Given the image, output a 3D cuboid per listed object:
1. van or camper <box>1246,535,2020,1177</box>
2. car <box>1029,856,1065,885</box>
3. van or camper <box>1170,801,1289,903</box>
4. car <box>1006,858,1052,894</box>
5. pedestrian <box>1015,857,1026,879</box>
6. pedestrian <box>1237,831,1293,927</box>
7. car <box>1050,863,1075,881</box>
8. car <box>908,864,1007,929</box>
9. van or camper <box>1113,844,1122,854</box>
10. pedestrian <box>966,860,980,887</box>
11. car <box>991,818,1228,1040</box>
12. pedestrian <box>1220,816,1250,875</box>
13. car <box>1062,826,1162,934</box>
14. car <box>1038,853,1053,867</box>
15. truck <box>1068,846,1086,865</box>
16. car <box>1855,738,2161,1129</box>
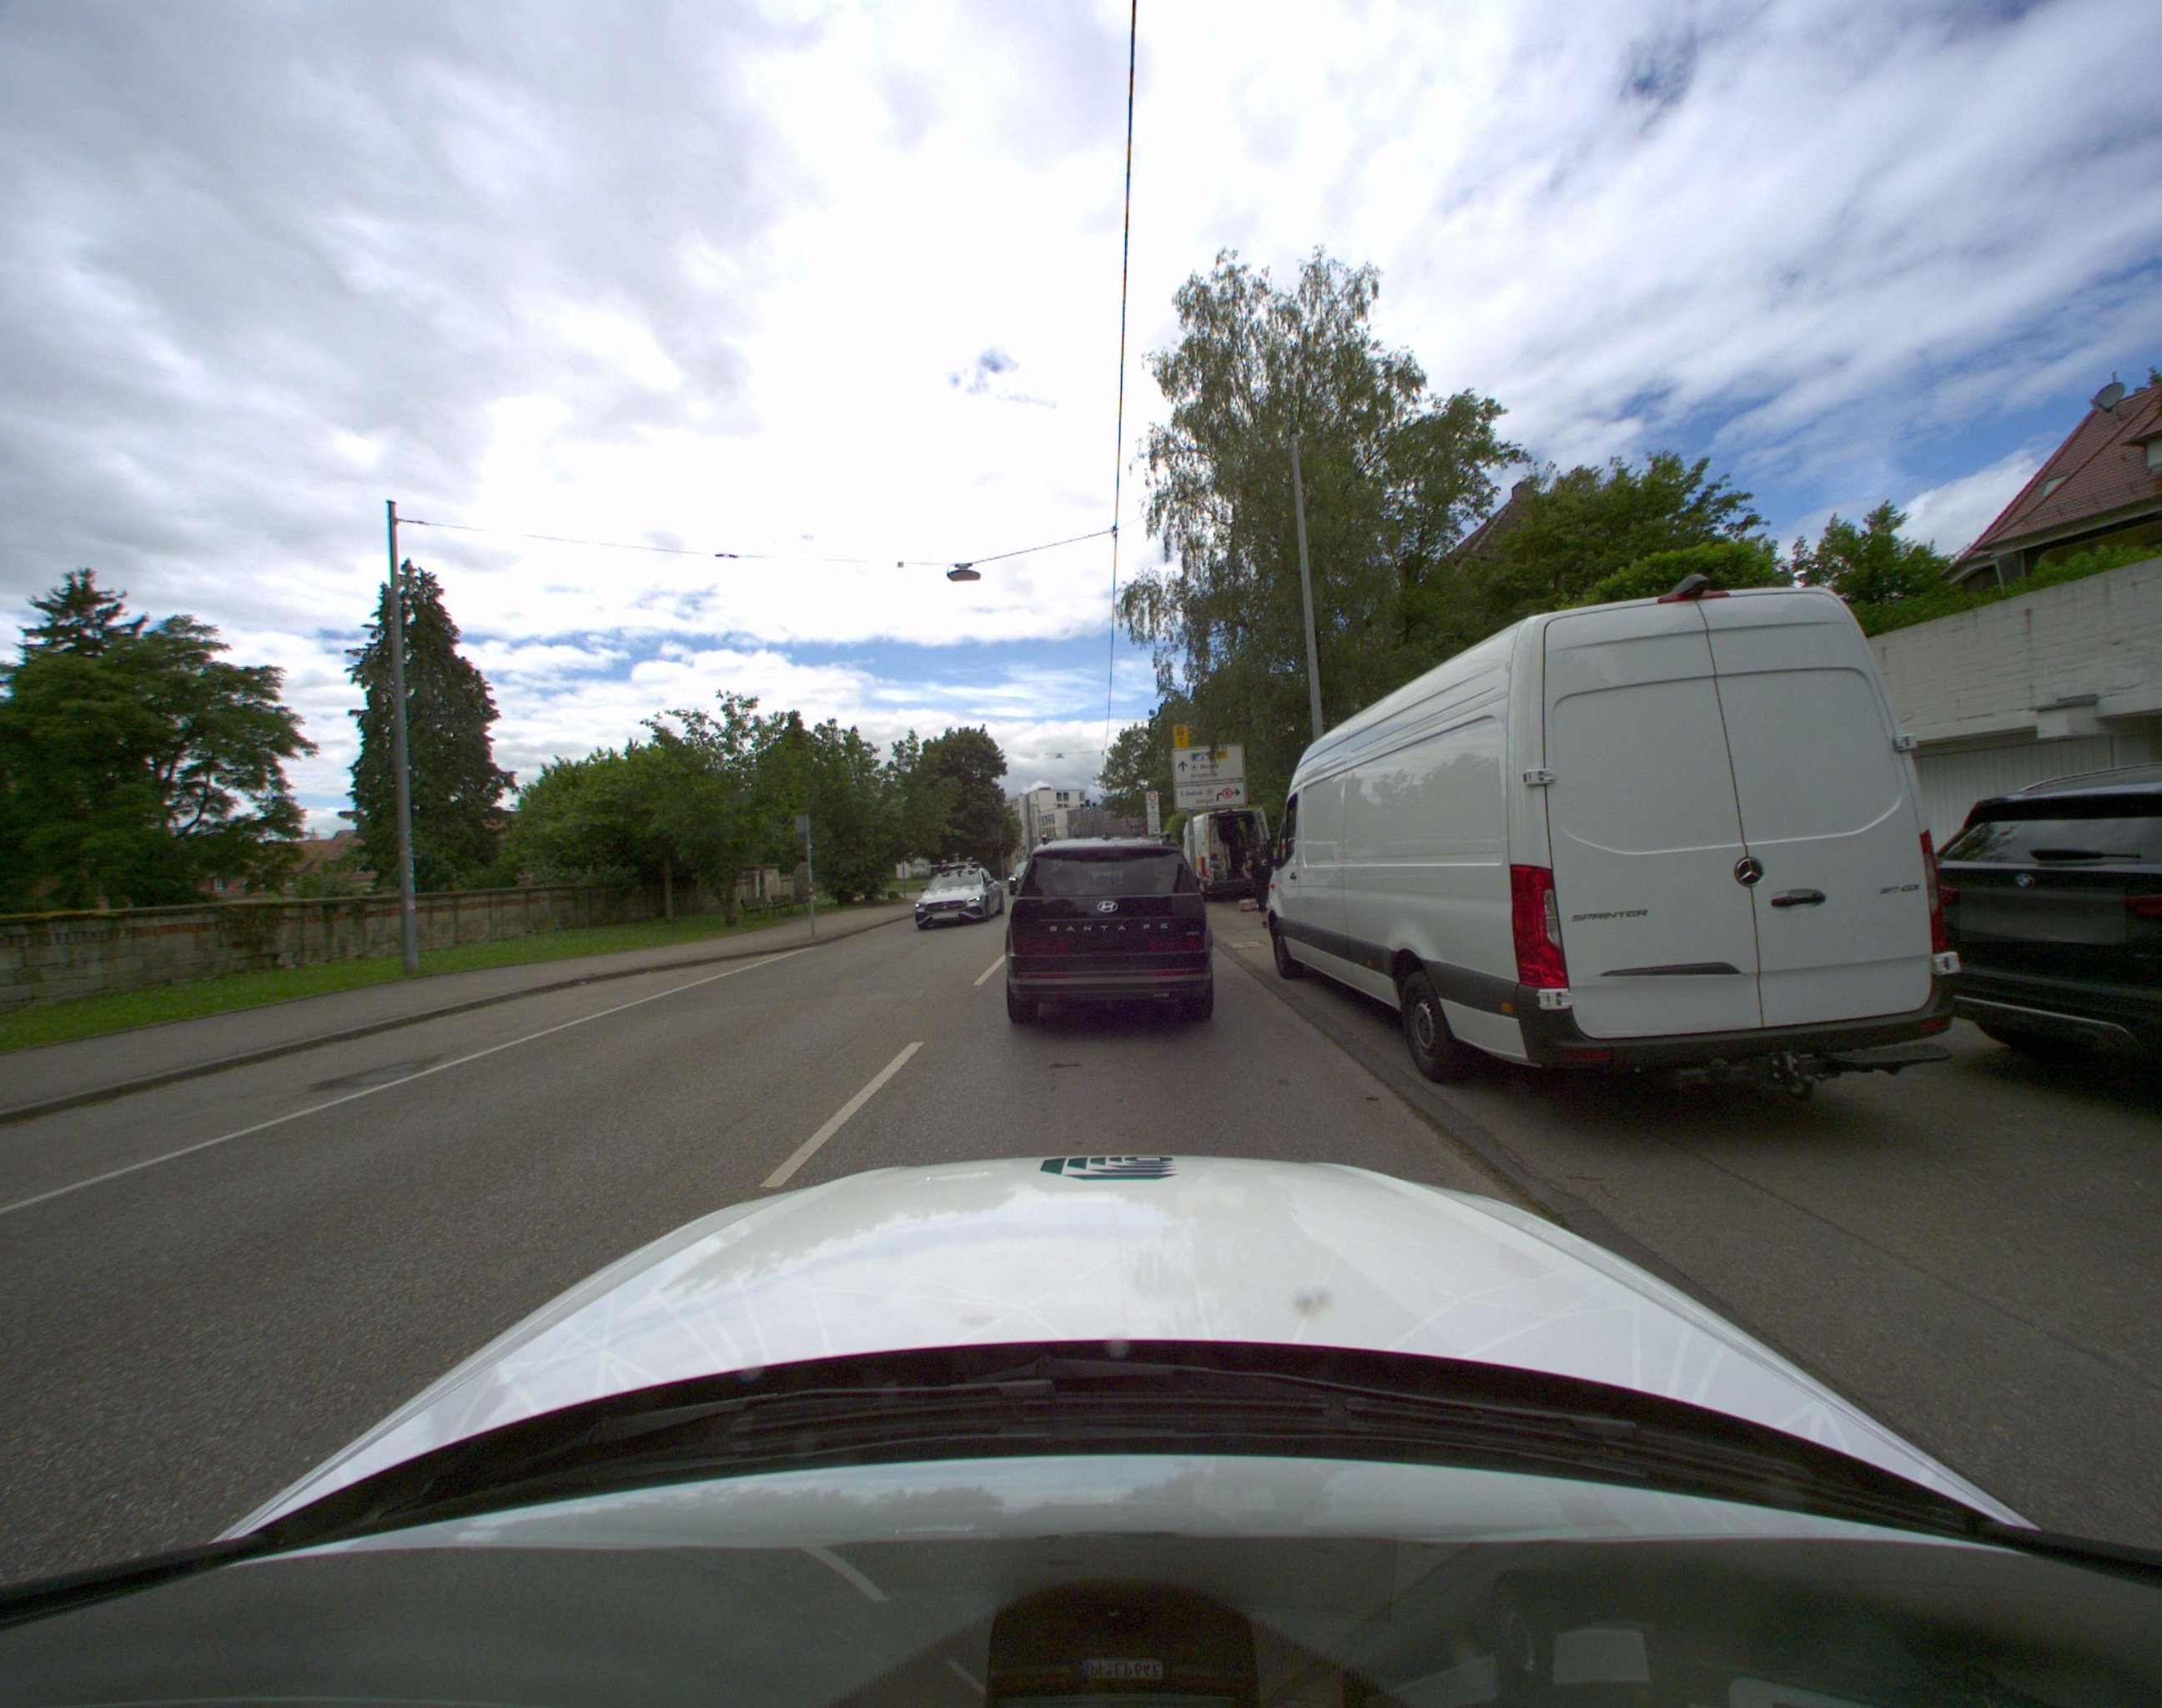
[{"bbox_3d":[3.073,0.034,6.849,1.984,2.625,6.546,-6,-1,2],"label":"van or camper"},{"bbox_3d":[-2.150,1.040,52.142,1.873,1.644,4.129,-6,-1,1],"label":"car"},{"bbox_3d":[4.346,0.021,25.182,2.332,2.494,6.603,-6,-1,1],"label":"van or camper"},{"bbox_3d":[-2.442,1.028,38.816,1.695,1.483,4.001,-5,-1,2],"label":"car"},{"bbox_3d":[-5.621,1.271,75.706,0.826,2.014,1.048,0,-1,4],"label":"pedestrian"},{"bbox_3d":[3.451,0.466,15.327,0.786,1.721,0.753,-4,-1,3],"label":"pedestrian"},{"bbox_3d":[-1.637,1.585,73.124,1.808,1.419,4.830,-6,-1,1],"label":"car"},{"bbox_3d":[-3.197,1.062,21.985,1.750,1.403,4.416,-6,-1,2],"label":"car"},{"bbox_3d":[7.737,-1.105,172.454,1.791,1.999,3.821,0,-1,-2],"label":"van or camper"},{"bbox_3d":[-7.221,1.283,54.436,0.764,1.748,0.904,-2,-1,0],"label":"pedestrian"},{"bbox_3d":[0.288,0.621,8.548,1.890,1.776,3.995,0,-1,2],"label":"car"},{"bbox_3d":[4.527,-0.246,23.975,0.732,1.643,0.803,-5,-1,11],"label":"pedestrian"},{"bbox_3d":[0.659,0.507,17.549,1.890,2.042,3.995,0,-1,2],"label":"car"},{"bbox_3d":[-6.349,0.998,144.213,2.328,2.315,4.950,-3,0,-4],"label":"car"},{"bbox_3d":[-0.923,0.319,182.171,3.102,3.859,9.606,-3,0,-4],"label":"truck"},{"bbox_3d":[6.791,0.202,3.920,4.365,1.675,1.696,-4,-1,2],"label":"car"}]
